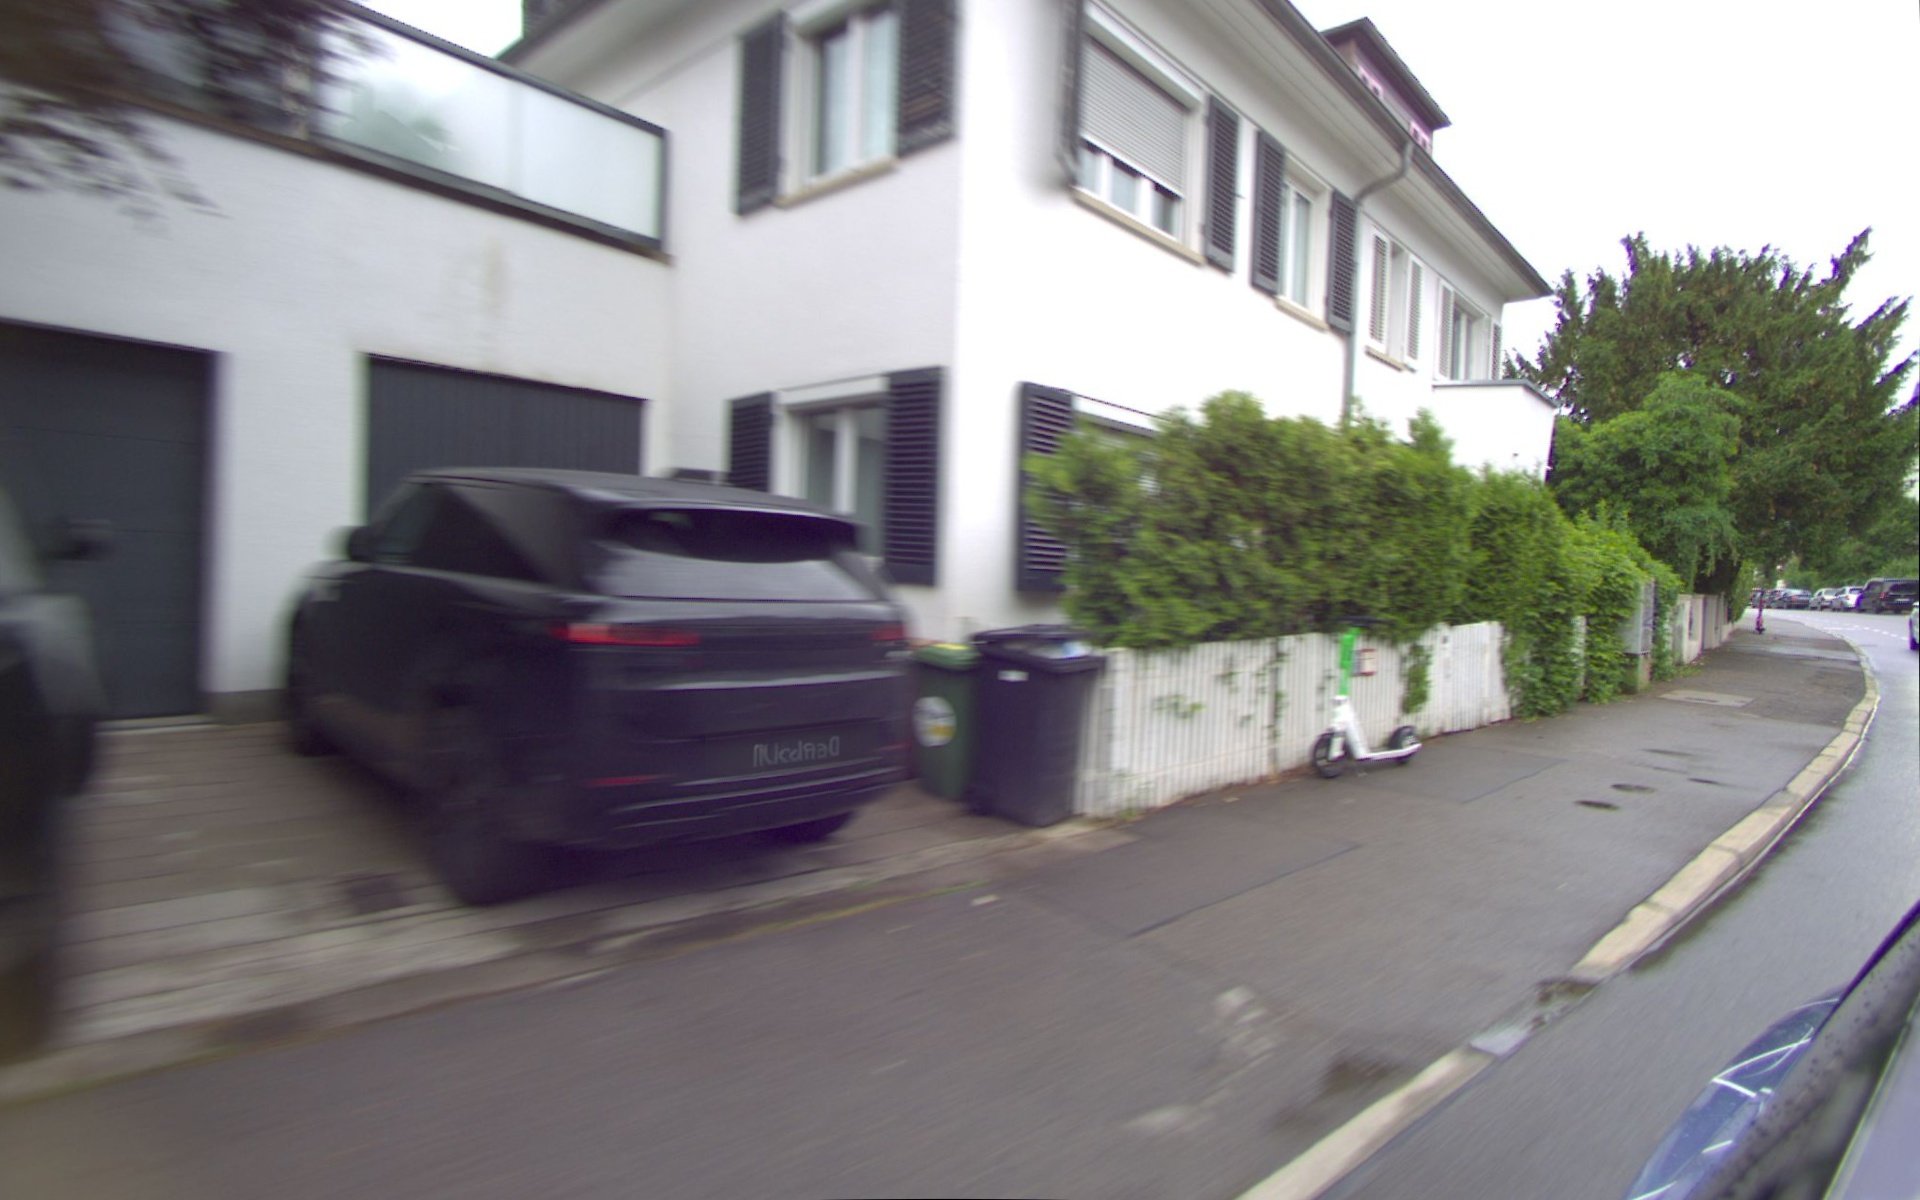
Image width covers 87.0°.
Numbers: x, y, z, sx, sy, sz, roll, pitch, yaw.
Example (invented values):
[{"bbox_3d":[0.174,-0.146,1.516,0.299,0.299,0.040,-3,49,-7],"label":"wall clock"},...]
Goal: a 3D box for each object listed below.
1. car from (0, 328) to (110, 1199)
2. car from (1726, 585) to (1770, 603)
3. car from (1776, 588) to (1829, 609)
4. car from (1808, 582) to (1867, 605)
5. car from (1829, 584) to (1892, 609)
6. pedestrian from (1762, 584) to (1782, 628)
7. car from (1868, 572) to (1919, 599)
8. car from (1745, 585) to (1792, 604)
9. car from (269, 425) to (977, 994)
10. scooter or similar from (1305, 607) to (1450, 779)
[{"bbox_3d":[-3.995,0.184,3.243,1.908,1.831,4.744,1,5,-40],"label":"car"},{"bbox_3d":[65.691,-0.507,84.418,1.661,1.389,4.405,1,0,21],"label":"car"},{"bbox_3d":[59.710,-0.105,71.803,1.661,1.389,4.403,1,0,23],"label":"car"},{"bbox_3d":[56.671,-0.429,65.419,1.662,1.389,4.400,1,0,24],"label":"car"},{"bbox_3d":[53.859,-0.210,60.627,1.664,1.389,4.397,1,0,26],"label":"car"},{"bbox_3d":[23.261,0.169,28.991,0.425,1.262,0.311,2,1,40],"label":"pedestrian"},{"bbox_3d":[50.506,-0.765,54.302,1.664,1.389,3.850,1,0,26],"label":"car"},{"bbox_3d":[61.770,-0.425,77.363,1.661,1.389,4.403,1,0,23],"label":"car"},{"bbox_3d":[-2.181,0.160,5.511,1.910,1.831,4.459,0,5,-44],"label":"car"},{"bbox_3d":[3.097,0.636,7.469,1.252,1.145,0.447,0,2,-41],"label":"scooter or similar"}]
